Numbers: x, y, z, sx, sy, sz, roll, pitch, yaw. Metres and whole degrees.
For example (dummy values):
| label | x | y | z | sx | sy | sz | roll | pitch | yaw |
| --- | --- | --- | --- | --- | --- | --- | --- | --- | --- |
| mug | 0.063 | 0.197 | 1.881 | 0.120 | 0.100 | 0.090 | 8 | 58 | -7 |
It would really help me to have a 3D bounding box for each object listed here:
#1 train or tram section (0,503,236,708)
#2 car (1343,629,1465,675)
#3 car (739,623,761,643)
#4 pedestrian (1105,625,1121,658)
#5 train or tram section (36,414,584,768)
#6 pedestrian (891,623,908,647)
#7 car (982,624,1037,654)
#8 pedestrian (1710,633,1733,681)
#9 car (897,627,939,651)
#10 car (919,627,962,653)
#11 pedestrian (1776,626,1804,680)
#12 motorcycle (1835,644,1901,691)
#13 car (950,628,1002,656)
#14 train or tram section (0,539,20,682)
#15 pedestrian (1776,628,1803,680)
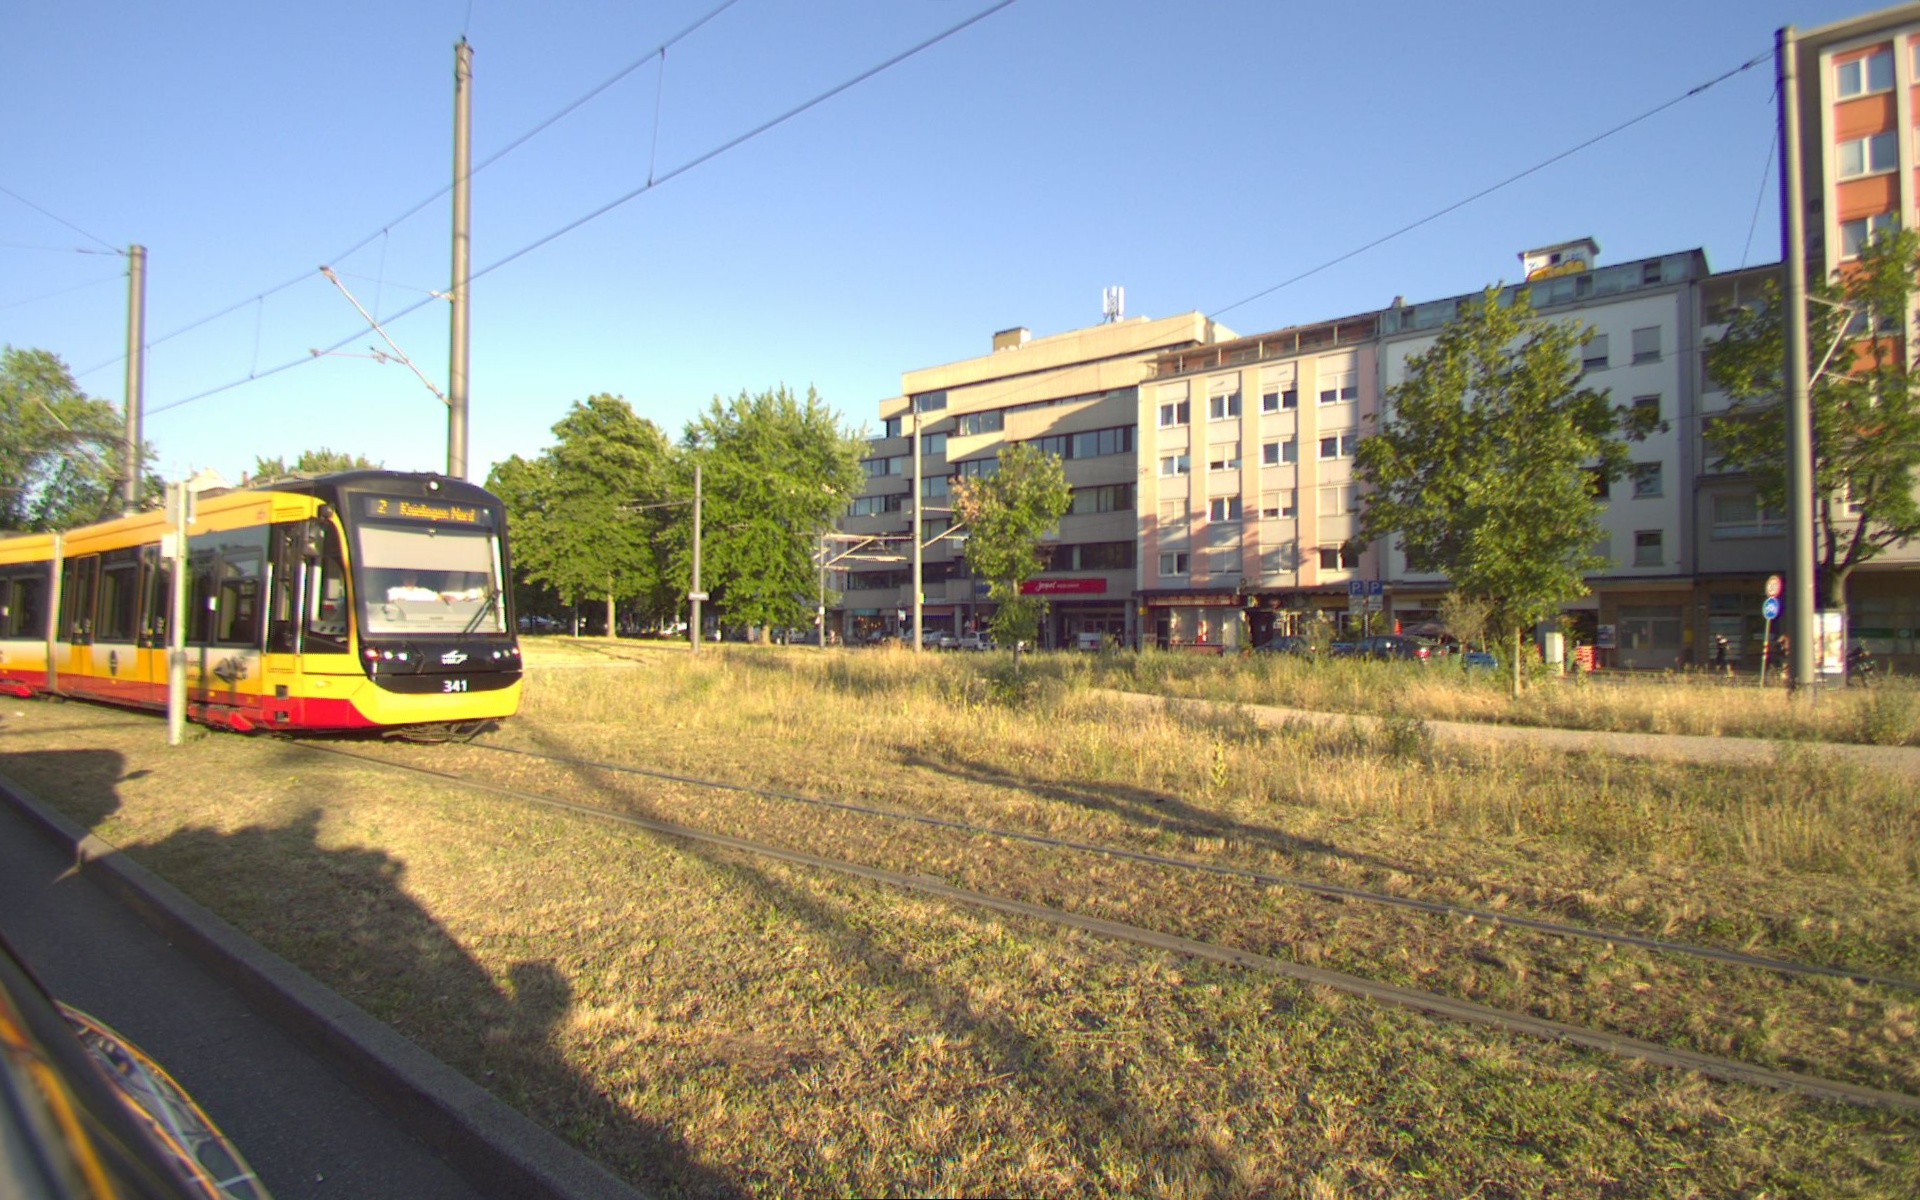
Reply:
| label | x | y | z | sx | sy | sz | roll | pitch | yaw |
| --- | --- | --- | --- | --- | --- | --- | --- | --- | --- |
| train or tram section | -21.033 | 0.215 | 22.902 | 12.135 | 3.767 | 2.857 | -1 | -2 | 30 |
| car | 17.264 | 1.984 | 39.520 | 1.965 | 1.697 | 4.012 | 1 | -2 | -28 |
| car | -23.477 | 3.661 | 112.989 | 1.966 | 2.029 | 4.012 | -1 | 0 | -18 |
| pedestrian | 9.284 | 2.513 | 61.305 | 0.700 | 1.949 | 0.683 | -2 | -2 | 41 |
| train or tram section | -10.984 | 0.033 | 15.927 | 13.196 | 3.767 | 2.882 | -1 | -2 | 37 |
| pedestrian | -5.190 | 2.960 | 86.821 | 0.892 | 2.051 | 1.123 | -2 | -2 | 43 |
| car | 3.266 | 2.569 | 67.002 | 1.892 | 1.878 | 4.013 | 1 | -2 | -27 |
| pedestrian | 28.712 | 2.153 | 38.136 | 0.630 | 1.782 | 0.589 | -1 | -2 | 41 |
| car | -3.452 | 3.128 | 81.971 | 1.965 | 1.951 | 4.013 | 1 | -2 | -25 |
| car | -1.527 | 3.008 | 77.065 | 1.965 | 1.893 | 4.013 | 1 | -2 | -23 |
| pedestrian | 28.519 | 1.813 | 34.772 | 0.704 | 1.806 | 0.587 | -2 | -2 | 41 |
| motorcycle | 26.490 | 1.952 | 29.536 | 1.390 | 1.328 | 0.376 | -2 | -2 | 43 |
| car | 1.102 | 2.939 | 71.525 | 1.965 | 1.893 | 4.013 | 1 | -2 | -27 |
| train or tram section | -31.330 | 0.327 | 28.336 | 12.119 | 3.767 | 2.891 | -1 | -2 | 25 |
| pedestrian | 28.918 | 1.876 | 35.282 | 0.698 | 1.764 | 0.642 | -2 | -2 | 41 |
